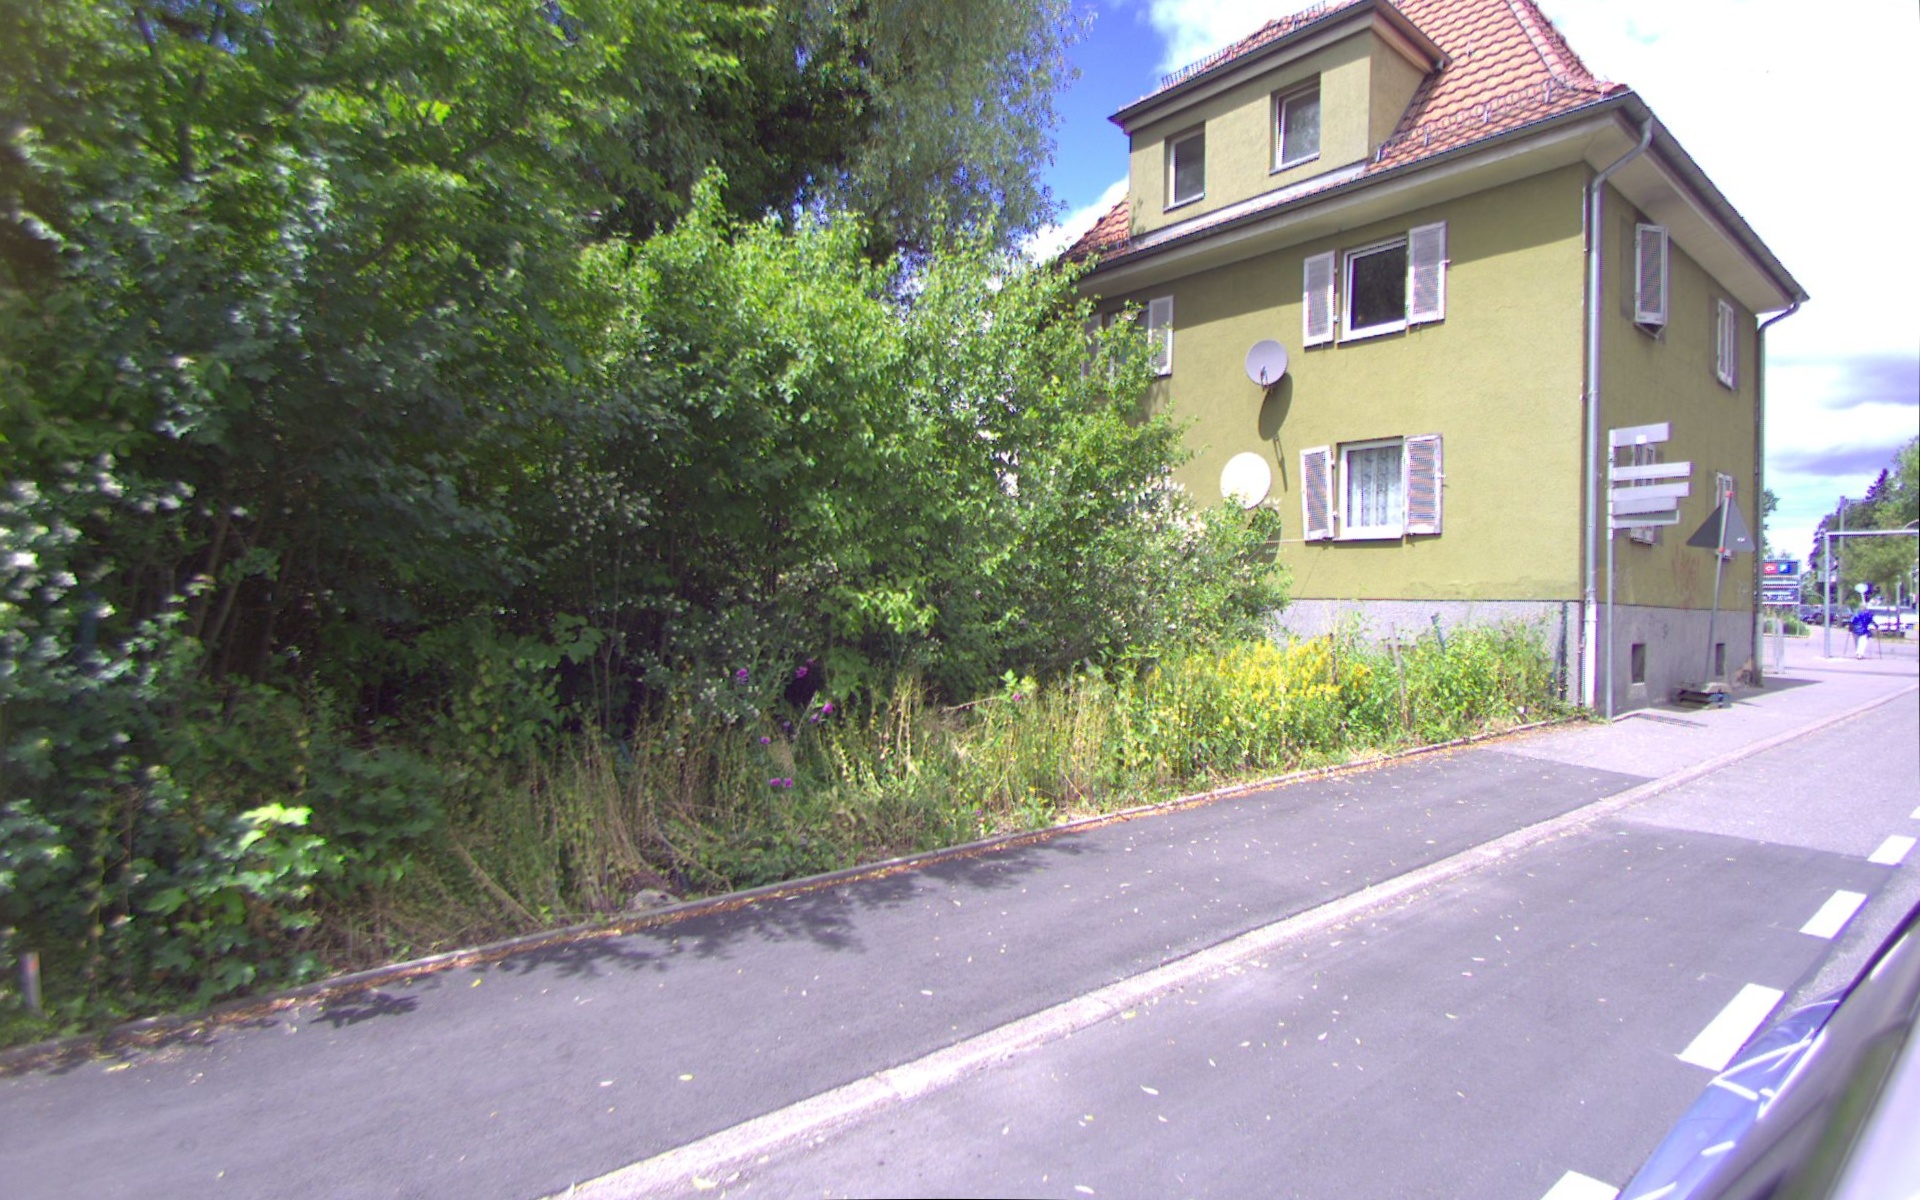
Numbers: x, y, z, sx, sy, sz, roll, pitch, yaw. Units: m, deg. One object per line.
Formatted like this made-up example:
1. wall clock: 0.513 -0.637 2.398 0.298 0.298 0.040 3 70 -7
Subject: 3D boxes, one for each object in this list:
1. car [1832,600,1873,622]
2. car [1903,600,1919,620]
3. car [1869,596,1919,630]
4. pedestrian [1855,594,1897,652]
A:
1. car: 64.964 0.800 73.695 1.694 1.551 3.951 -1 -1 34
2. car: 69.845 0.731 73.454 1.542 1.445 3.806 -1 -1 36
3. car: 47.491 0.635 51.343 1.788 1.549 3.864 4 2 40
4. pedestrian: 26.012 0.644 28.742 0.824 1.592 0.972 2 1 45
